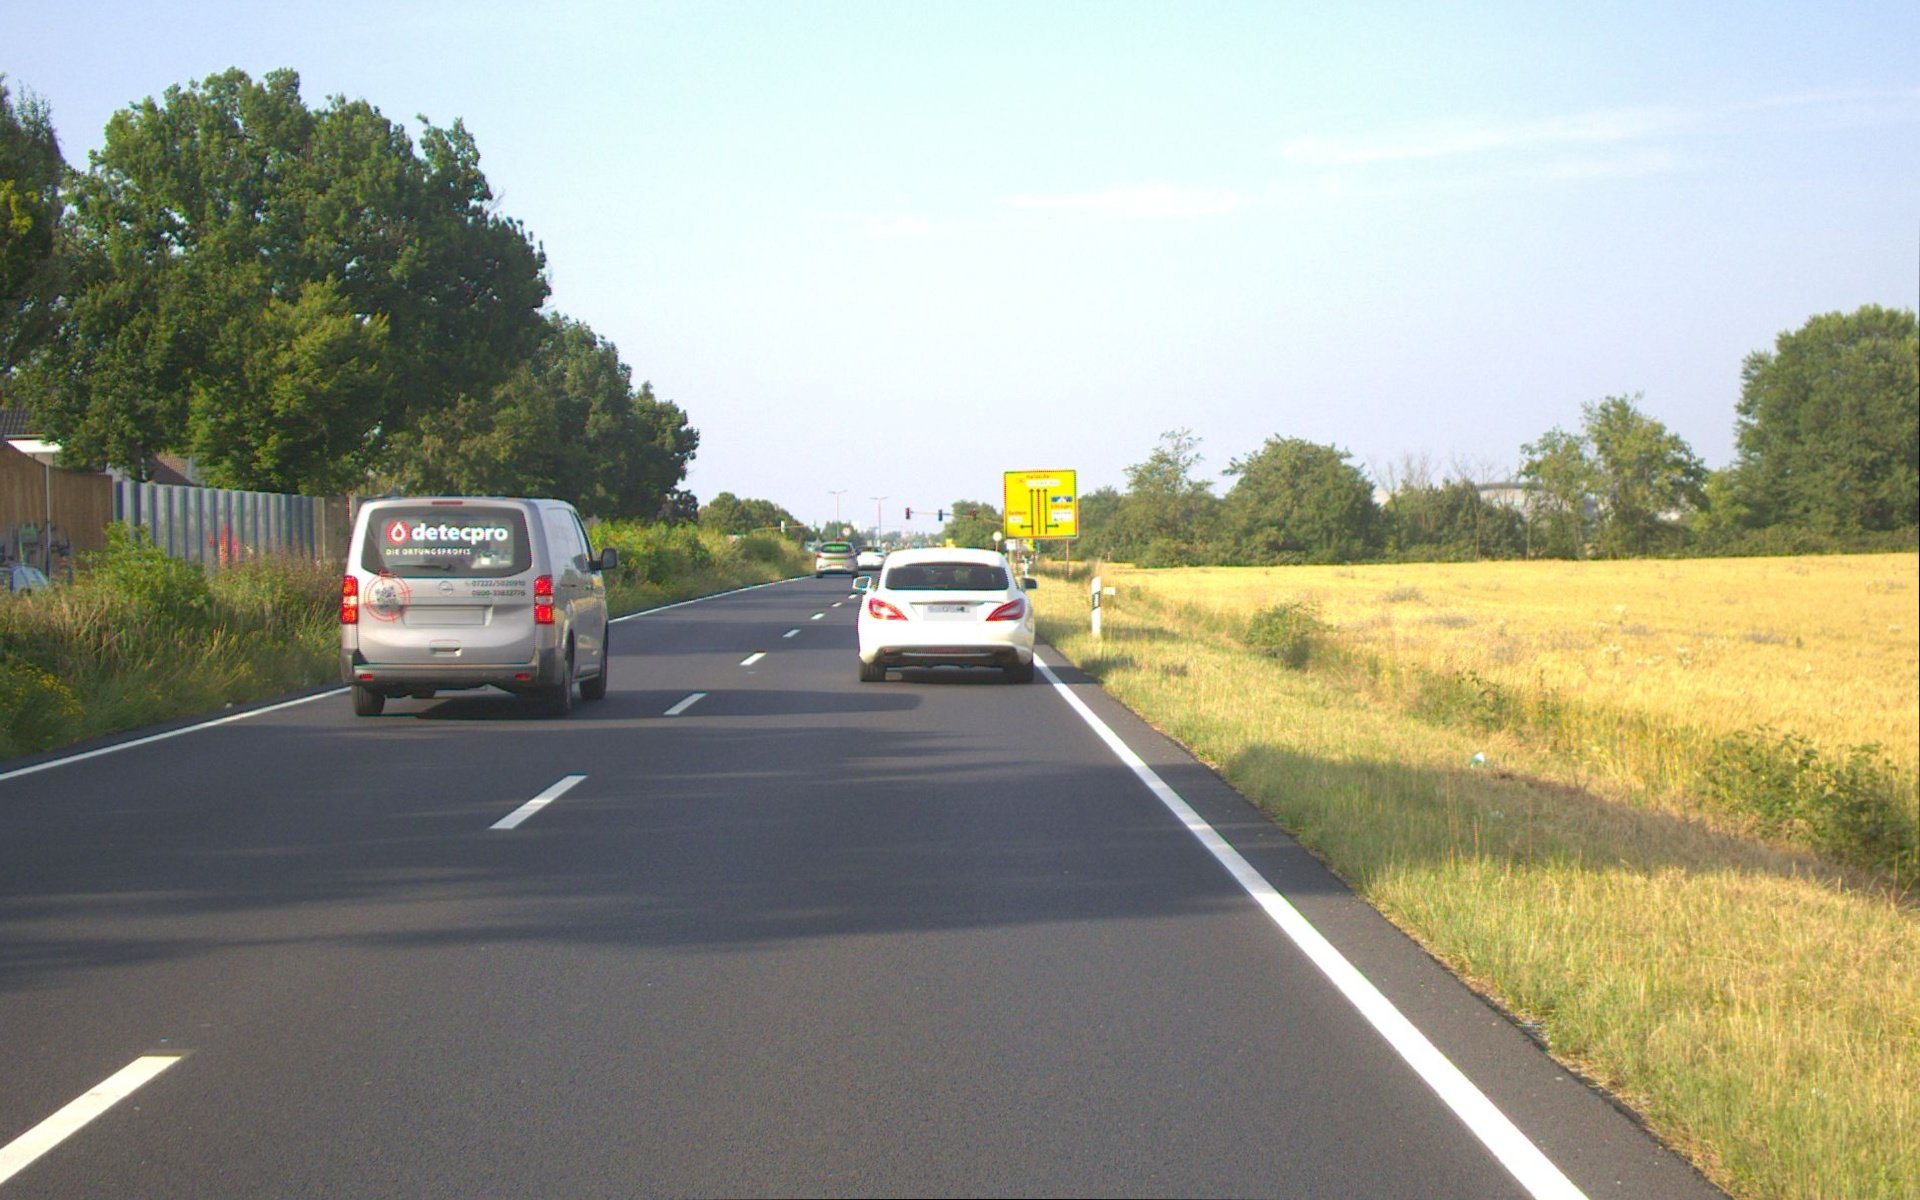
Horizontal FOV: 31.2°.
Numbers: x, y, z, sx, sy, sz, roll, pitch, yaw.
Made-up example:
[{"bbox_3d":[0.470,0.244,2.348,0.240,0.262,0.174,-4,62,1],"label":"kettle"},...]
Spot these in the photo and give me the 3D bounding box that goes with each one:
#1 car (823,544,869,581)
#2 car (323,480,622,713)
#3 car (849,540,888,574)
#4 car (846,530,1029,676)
[{"bbox_3d":[-4.675,-1.540,141.479,1.717,1.487,3.584,1,1,0],"label":"car"},{"bbox_3d":[-4.243,-0.074,30.658,2.025,1.885,4.959,1,1,-1],"label":"car"},{"bbox_3d":[-4.485,-2.090,168.225,1.877,1.645,3.664,1,1,-2],"label":"car"},{"bbox_3d":[-0.253,0.010,37.582,1.894,1.503,4.000,0,1,-1],"label":"car"}]
